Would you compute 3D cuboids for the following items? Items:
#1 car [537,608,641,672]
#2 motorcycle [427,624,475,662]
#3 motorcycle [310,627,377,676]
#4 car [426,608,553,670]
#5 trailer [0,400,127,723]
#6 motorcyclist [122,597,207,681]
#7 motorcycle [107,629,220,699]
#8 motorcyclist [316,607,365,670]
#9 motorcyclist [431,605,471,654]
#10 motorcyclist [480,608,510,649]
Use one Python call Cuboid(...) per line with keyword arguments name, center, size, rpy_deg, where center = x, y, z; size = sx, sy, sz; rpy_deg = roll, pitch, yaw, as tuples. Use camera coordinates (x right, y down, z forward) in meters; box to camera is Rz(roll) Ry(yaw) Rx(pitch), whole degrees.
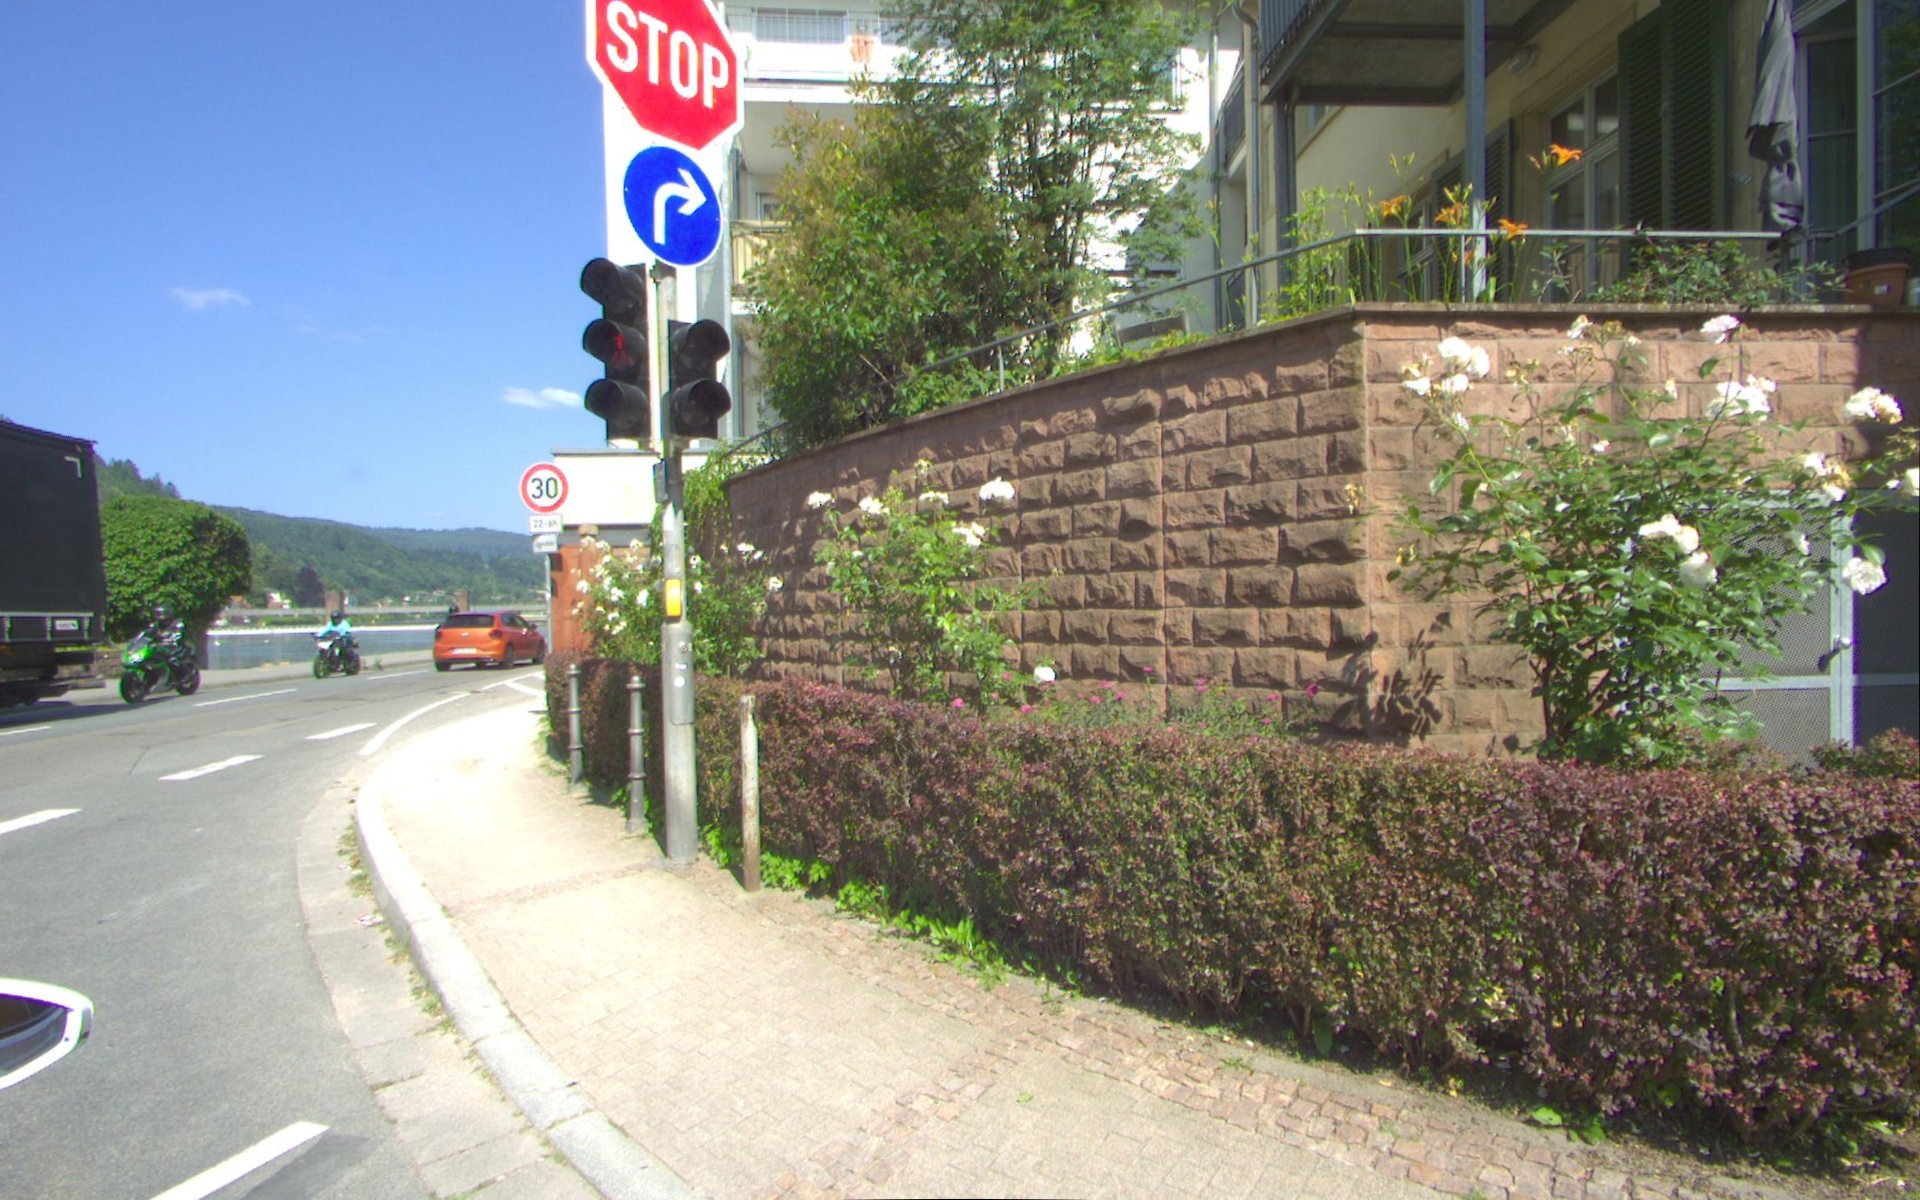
Cuboid(name="car", center=(-8.988, 0.931, 24.515), size=(1.661, 1.417, 3.737), rpy_deg=(-1, 0, -9))
Cuboid(name="motorcycle", center=(-14.860, 1.243, 29.281), size=(0.646, 1.038, 1.814), rpy_deg=(-1, 0, -8))
Cuboid(name="motorcycle", center=(-15.812, 1.304, 25.753), size=(0.623, 1.138, 2.092), rpy_deg=(-3, 0, -8))
Cuboid(name="car", center=(-11.896, 0.937, 25.599), size=(1.697, 1.424, 4.017), rpy_deg=(-1, 0, -6))
Cuboid(name="trailer", center=(-13.095, -0.478, 7.957), size=(2.788, 4.158, 13.766), rpy_deg=(-3, 0, -7))
Cuboid(name="motorcyclist", center=(-14.735, 0.708, 18.581), size=(0.766, 1.479, 0.991), rpy_deg=(-3, 0, -8))
Cuboid(name="motorcycle", center=(-14.719, 1.150, 18.578), size=(0.623, 1.138, 2.092), rpy_deg=(-3, 0, -8))
Cuboid(name="motorcyclist", center=(-15.812, 0.967, 25.578), size=(0.653, 1.545, 0.991), rpy_deg=(-3, 0, -8))
Cuboid(name="motorcyclist", center=(-14.823, 0.846, 29.188), size=(0.774, 1.384, 0.800), rpy_deg=(-1, 0, -8))
Cuboid(name="motorcyclist", center=(-16.287, 0.983, 35.091), size=(0.706, 1.384, 0.936), rpy_deg=(-1, 0, -8))
